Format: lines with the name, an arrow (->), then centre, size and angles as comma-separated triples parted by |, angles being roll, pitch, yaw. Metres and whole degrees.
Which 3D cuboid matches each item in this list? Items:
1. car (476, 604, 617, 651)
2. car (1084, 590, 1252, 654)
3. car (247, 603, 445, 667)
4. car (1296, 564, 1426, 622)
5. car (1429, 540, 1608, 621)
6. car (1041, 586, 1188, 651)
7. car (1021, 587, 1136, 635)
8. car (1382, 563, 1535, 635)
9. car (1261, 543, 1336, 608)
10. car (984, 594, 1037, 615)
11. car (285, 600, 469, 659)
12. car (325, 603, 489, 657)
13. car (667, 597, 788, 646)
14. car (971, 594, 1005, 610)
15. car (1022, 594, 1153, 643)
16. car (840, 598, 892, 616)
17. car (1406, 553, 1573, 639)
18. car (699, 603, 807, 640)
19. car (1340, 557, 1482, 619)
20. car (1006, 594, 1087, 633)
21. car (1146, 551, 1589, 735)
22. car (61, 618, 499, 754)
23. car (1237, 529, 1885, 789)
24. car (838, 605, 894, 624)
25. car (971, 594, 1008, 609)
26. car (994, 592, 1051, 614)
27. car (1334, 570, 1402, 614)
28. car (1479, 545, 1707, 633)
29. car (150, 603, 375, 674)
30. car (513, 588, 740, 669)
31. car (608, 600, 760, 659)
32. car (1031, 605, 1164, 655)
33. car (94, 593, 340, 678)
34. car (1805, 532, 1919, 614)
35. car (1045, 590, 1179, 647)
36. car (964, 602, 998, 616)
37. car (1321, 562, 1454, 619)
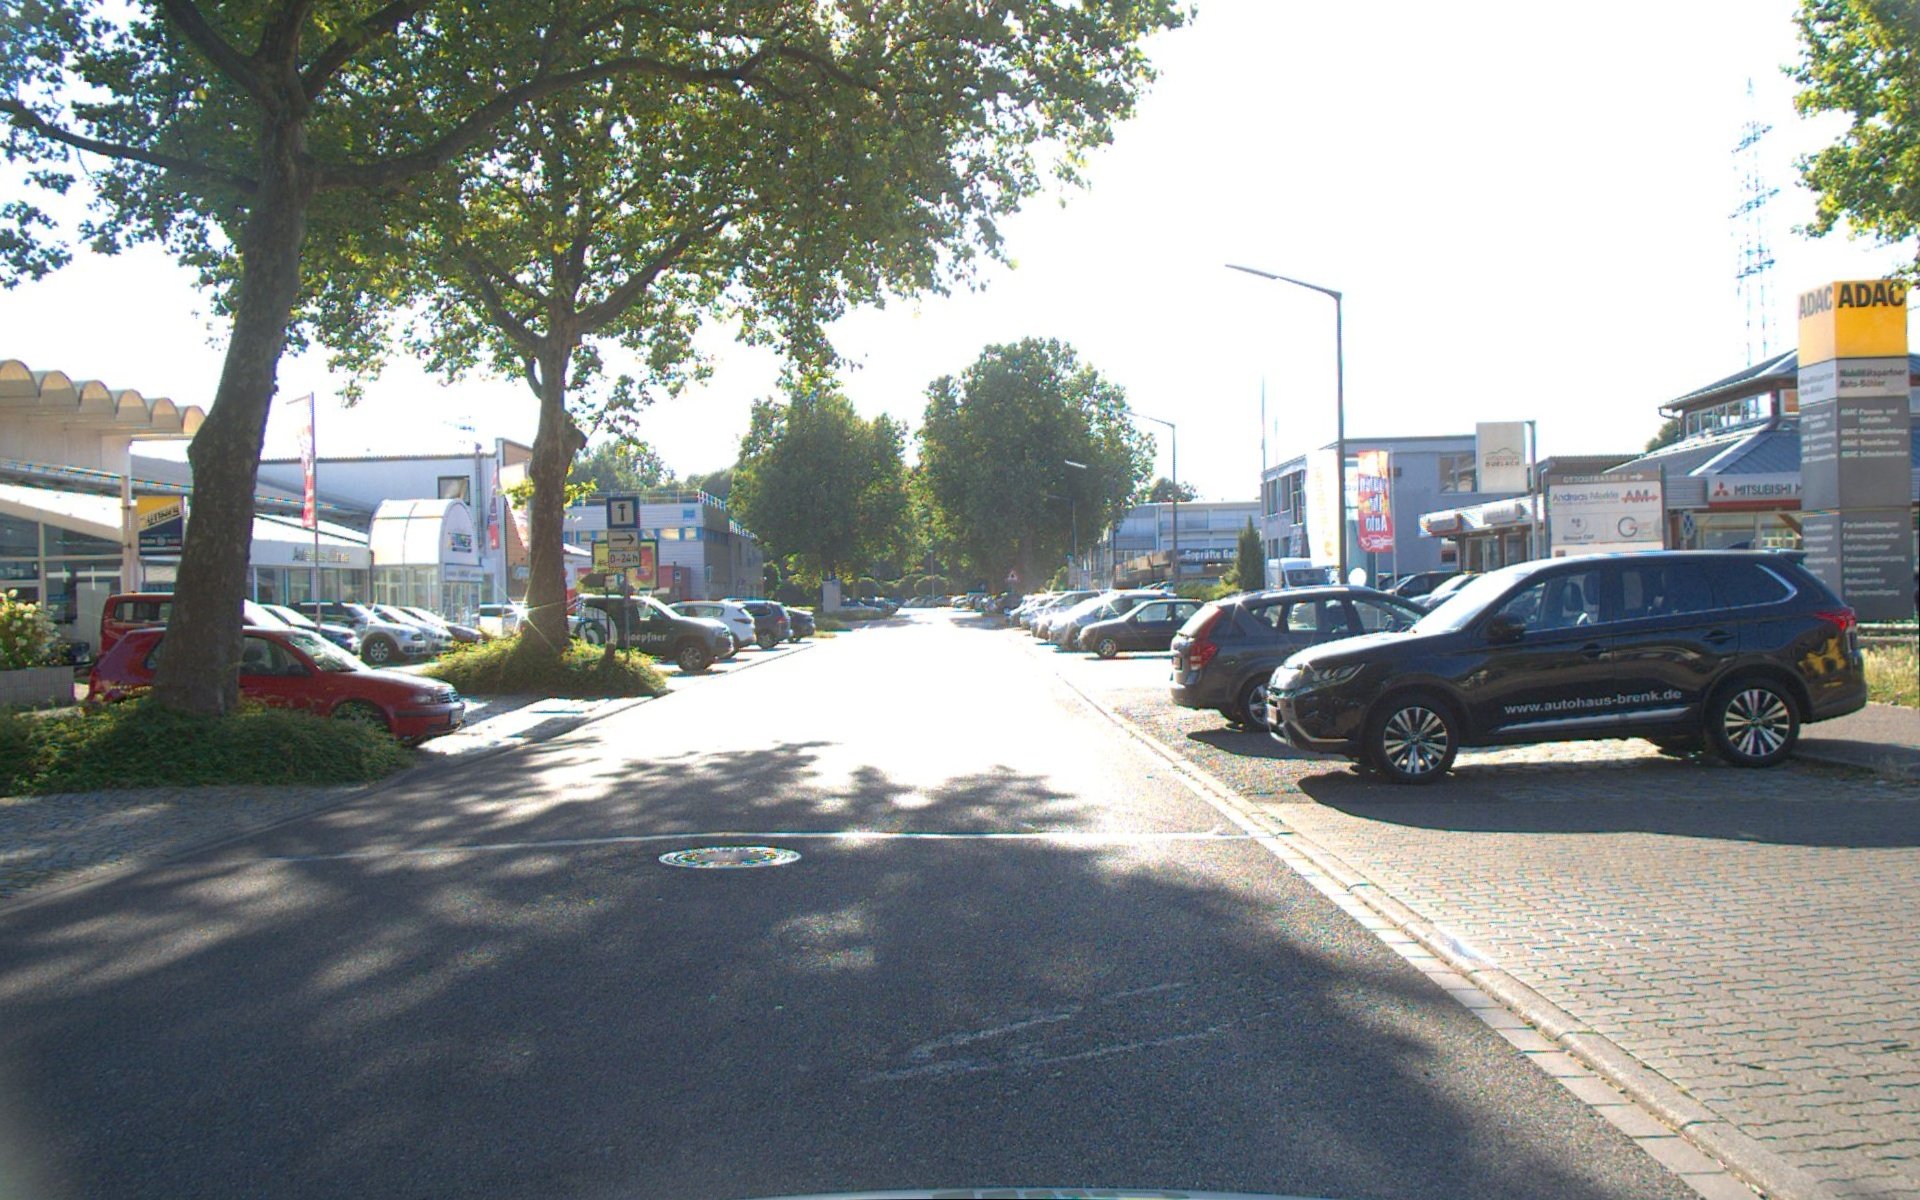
car -> -15.526, 1.015, 62.250 | 4.844, 1.718, 1.999 | 0, 0, -3
car -> 5.044, 0.534, 40.558 | 3.904, 1.319, 1.784 | -3, 0, 2
car -> -16.648, 0.941, 45.009 | 4.623, 1.671, 1.999 | 0, 0, -2
car -> 14.215, -0.248, 58.795 | 4.060, 1.802, 2.000 | -3, 0, 0
car -> 14.291, -0.528, 42.513 | 3.853, 1.931, 2.202 | -1, 3, -1
car -> 4.419, 0.520, 47.719 | 3.909, 1.615, 1.866 | -3, 0, -4
car -> 4.925, 0.461, 69.291 | 4.465, 1.625, 2.200 | -5, 0, -3
car -> 14.326, -0.014, 47.641 | 3.823, 1.932, 1.786 | -1, -2, -1
car -> 14.543, -0.988, 71.483 | 1.953, 2.671, 6.136 | 0, 0, 0
car -> 3.819, 0.314, 124.751 | 3.906, 1.440, 1.827 | -2, 0, -1
car -> -16.648, 0.835, 47.390 | 4.567, 1.620, 1.928 | 0, 0, -2
car -> -16.691, 0.903, 50.071 | 4.373, 1.580, 1.836 | 0, 0, -2
car -> -8.359, 0.768, 59.830 | 4.146, 1.684, 2.200 | 0, -1, -3
car -> 3.302, 0.225, 195.103 | 3.906, 1.808, 1.827 | -2, 0, -1
car -> 4.429, 0.638, 57.973 | 4.347, 1.461, 2.135 | -3, 0, -1
car -> -8.094, 0.634, 142.509 | 4.324, 1.543, 2.000 | 0, 0, 1
car -> 14.341, -0.120, 44.959 | 3.723, 1.931, 2.202 | -5, 1, -1
car -> -8.489, 0.887, 68.171 | 4.227, 1.485, 2.200 | 0, -1, -3
car -> 14.312, -0.370, 52.646 | 3.906, 1.726, 2.000 | -3, 0, 0
car -> 4.417, 0.680, 84.882 | 3.908, 1.681, 1.741 | -4, 0, -3
car -> 4.576, 0.476, 19.092 | 4.508, 1.641, 2.000 | -5, -1, -1
car -> -7.714, 0.954, 19.088 | 4.208, 1.472, 2.000 | 0, -1, -1
car -> 4.714, 0.456, 13.553 | 4.506, 1.607, 2.000 | -5, -1, 2
car -> -7.374, 1.149, 129.720 | 4.330, 1.427, 1.998 | 0, 0, -6
car -> 3.212, 0.196, 180.223 | 3.906, 1.440, 1.827 | -2, 0, -1
car -> 4.444, 0.208, 117.414 | 3.906, 1.440, 2.000 | -2, 0, -1
car -> 17.494, -0.338, 71.090 | 1.953, 1.830, 3.999 | 0, 0, 0
car -> 14.501, -0.237, 38.101 | 4.404, 1.932, 2.201 | 0, -1, -1
car -> -16.873, 0.911, 40.204 | 4.618, 1.662, 1.999 | 0, 0, -2
car -> -8.142, 0.691, 40.746 | 5.152, 1.932, 2.201 | 0, -1, -1
car -> -8.136, 0.866, 49.088 | 4.217, 1.685, 2.200 | 0, -1, -3
car -> 4.553, 0.986, 55.133 | 4.160, 1.633, 1.744 | 0, 0, -6
car -> -16.765, 0.777, 37.503 | 4.650, 1.851, 1.999 | 0, 0, -2
car -> 21.027, -0.572, 37.536 | 3.964, 1.768, 1.970 | 0, 0, -41
car -> 4.836, 0.593, 52.903 | 4.028, 1.770, 1.882 | 0, 0, -4
car -> 2.446, 1.022, 193.251 | 3.906, 1.440, 1.827 | -2, 0, -1
car -> 14.421, -0.309, 55.909 | 3.906, 1.688, 2.000 | -3, 0, 0
